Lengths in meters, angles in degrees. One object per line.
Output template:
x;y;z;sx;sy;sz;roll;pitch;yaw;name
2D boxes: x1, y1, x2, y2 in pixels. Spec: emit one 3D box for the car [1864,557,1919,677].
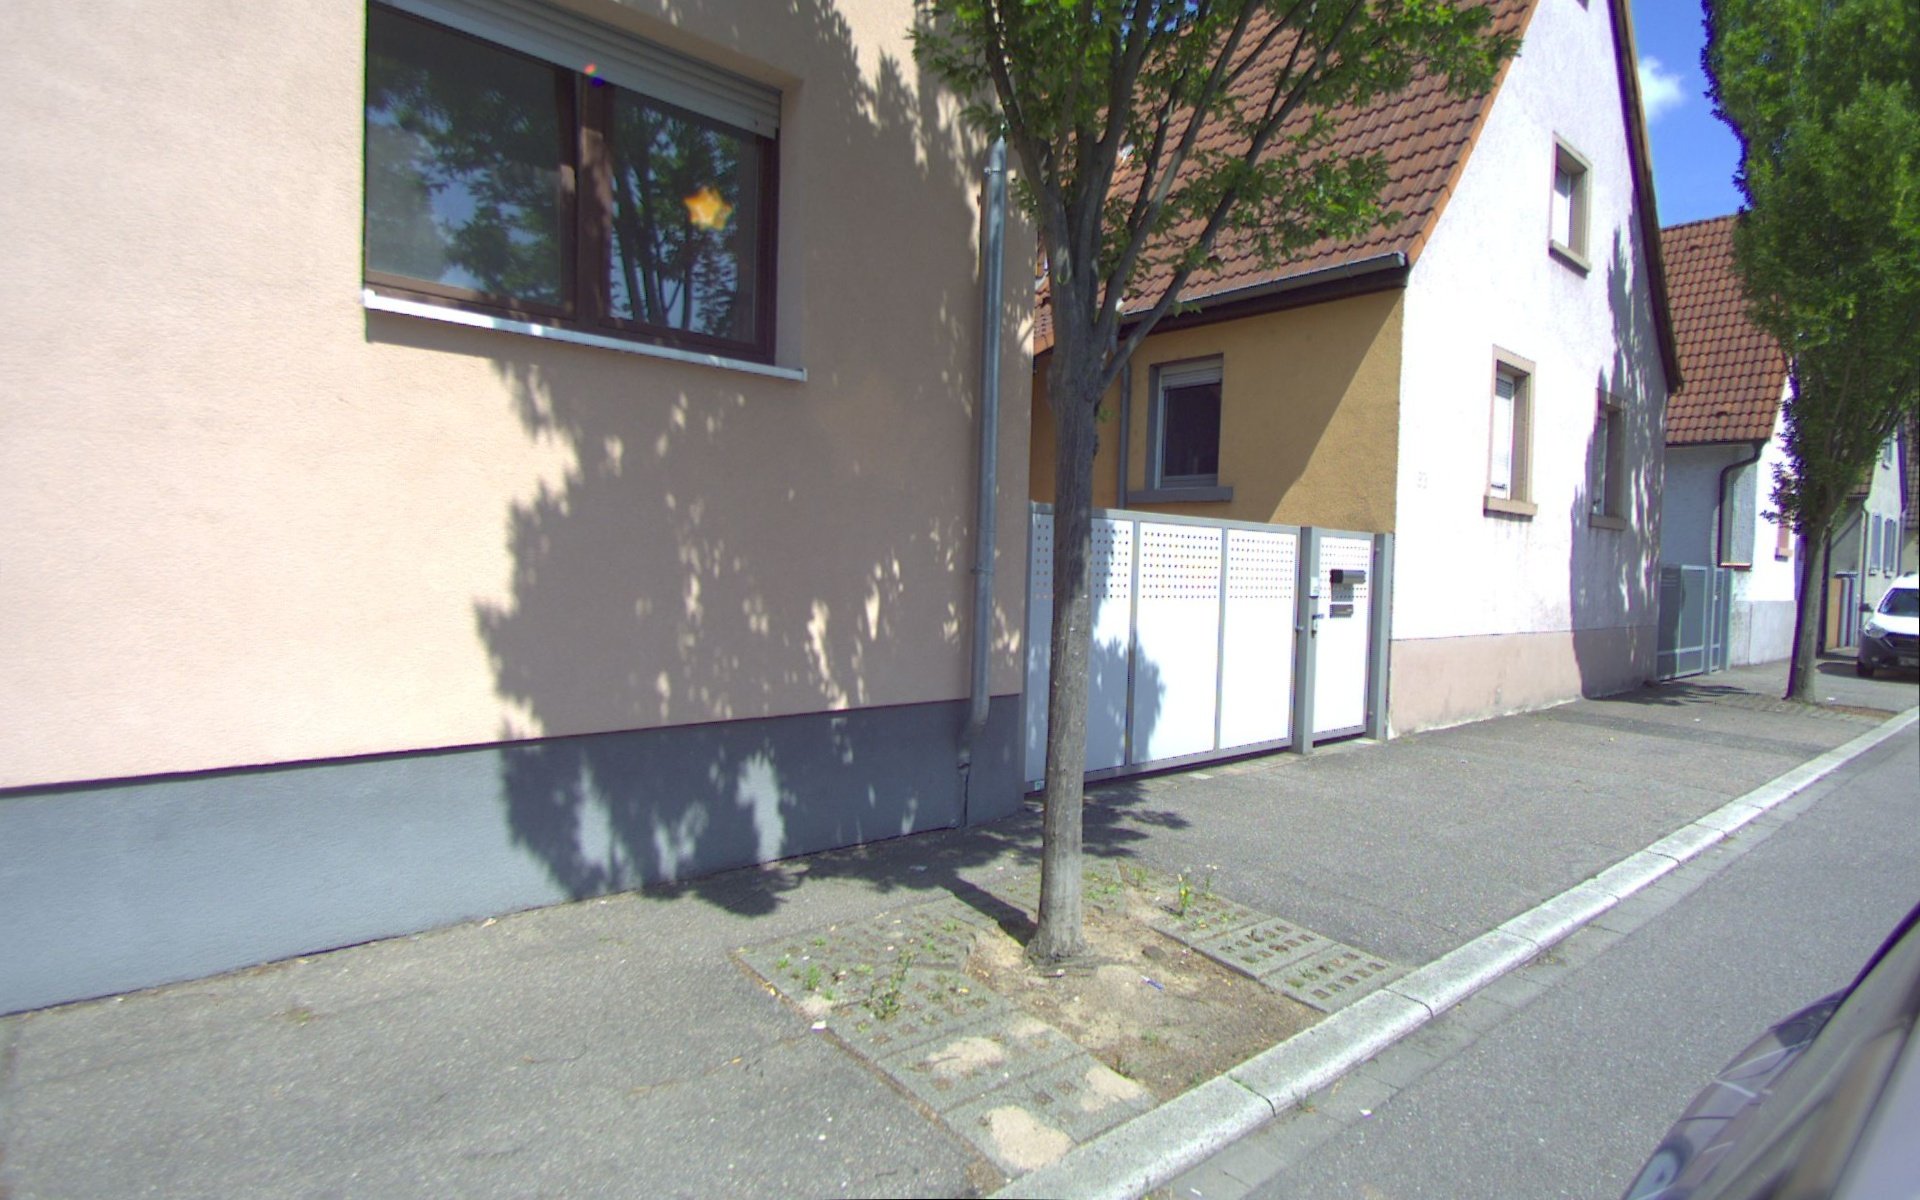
17.084;0.289;17.292;4.680;1.864;1.693;0;5;-40;car
